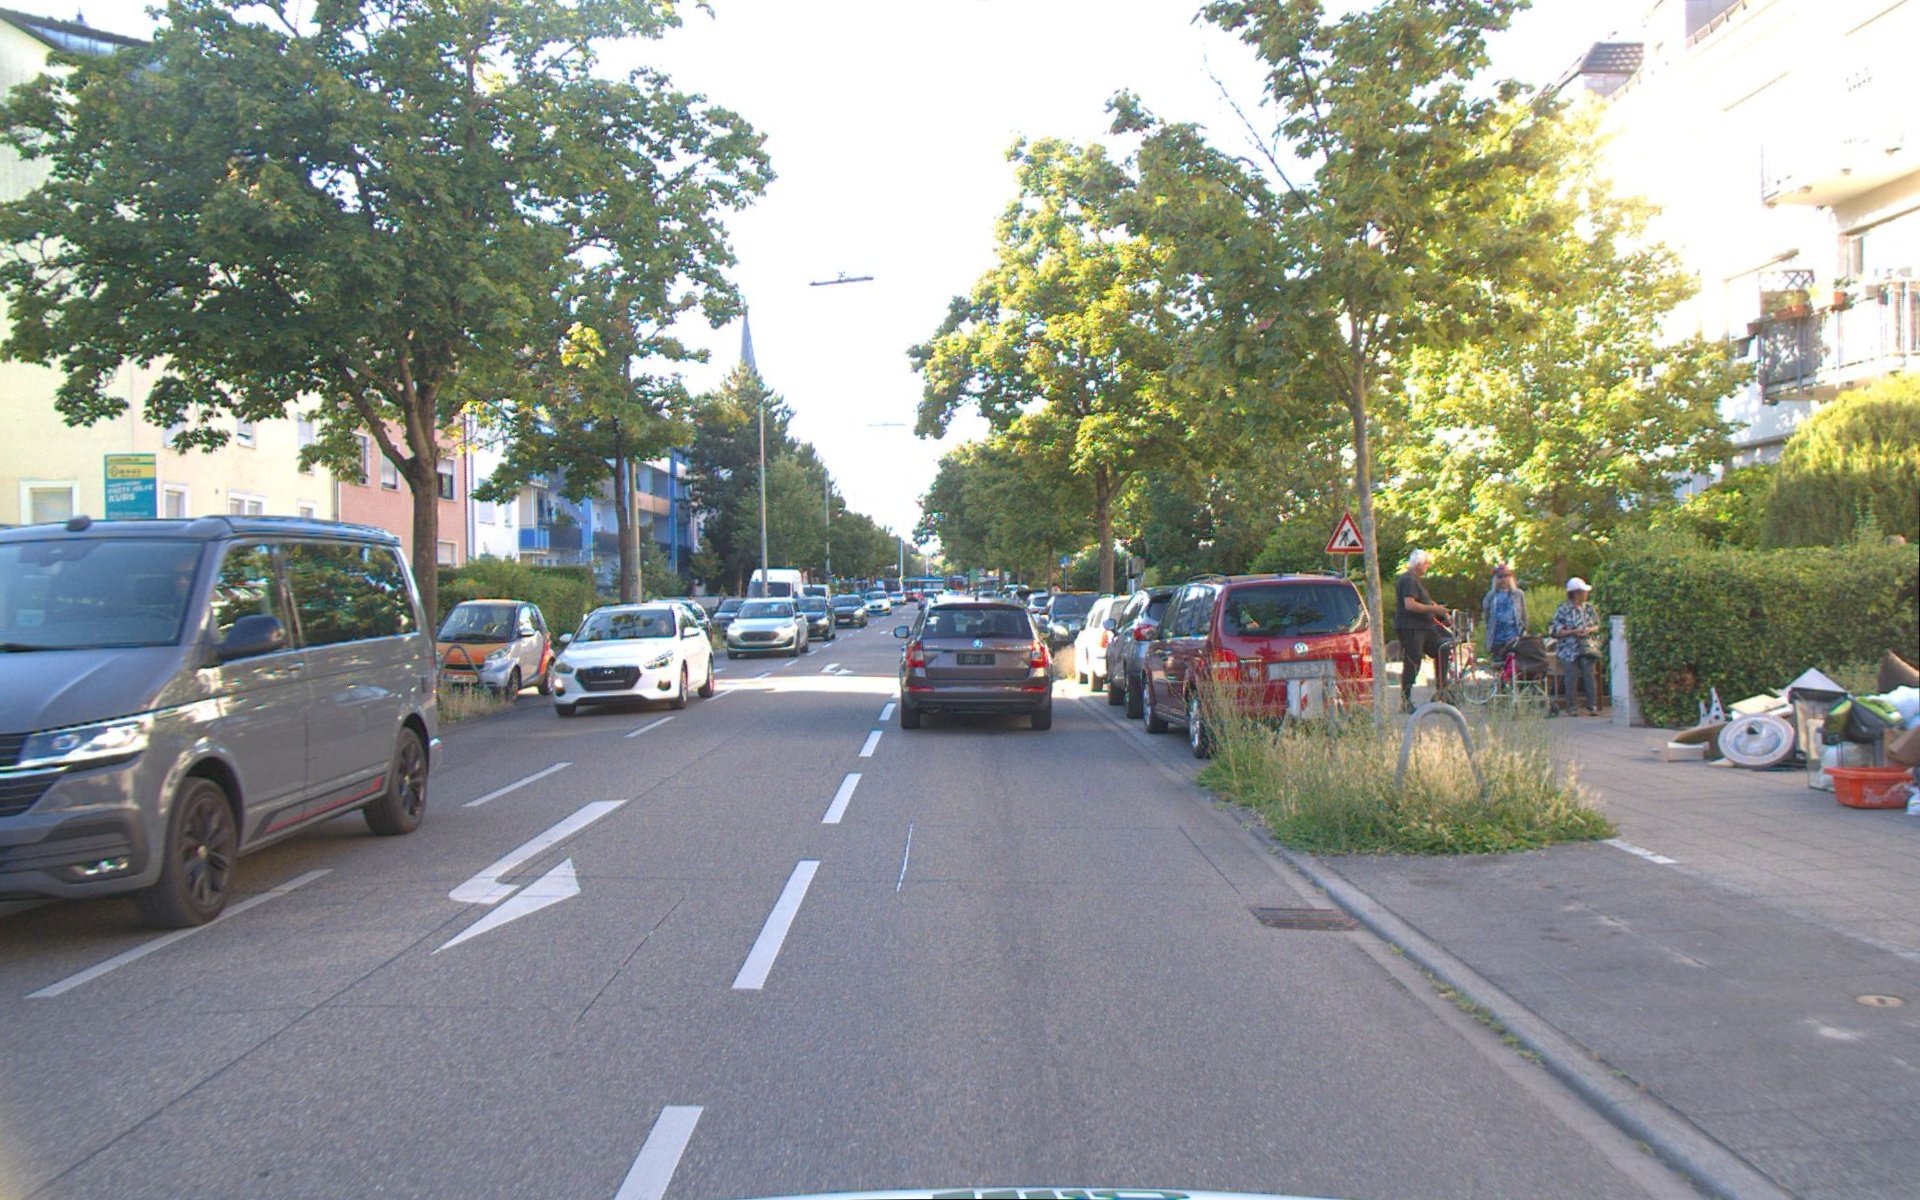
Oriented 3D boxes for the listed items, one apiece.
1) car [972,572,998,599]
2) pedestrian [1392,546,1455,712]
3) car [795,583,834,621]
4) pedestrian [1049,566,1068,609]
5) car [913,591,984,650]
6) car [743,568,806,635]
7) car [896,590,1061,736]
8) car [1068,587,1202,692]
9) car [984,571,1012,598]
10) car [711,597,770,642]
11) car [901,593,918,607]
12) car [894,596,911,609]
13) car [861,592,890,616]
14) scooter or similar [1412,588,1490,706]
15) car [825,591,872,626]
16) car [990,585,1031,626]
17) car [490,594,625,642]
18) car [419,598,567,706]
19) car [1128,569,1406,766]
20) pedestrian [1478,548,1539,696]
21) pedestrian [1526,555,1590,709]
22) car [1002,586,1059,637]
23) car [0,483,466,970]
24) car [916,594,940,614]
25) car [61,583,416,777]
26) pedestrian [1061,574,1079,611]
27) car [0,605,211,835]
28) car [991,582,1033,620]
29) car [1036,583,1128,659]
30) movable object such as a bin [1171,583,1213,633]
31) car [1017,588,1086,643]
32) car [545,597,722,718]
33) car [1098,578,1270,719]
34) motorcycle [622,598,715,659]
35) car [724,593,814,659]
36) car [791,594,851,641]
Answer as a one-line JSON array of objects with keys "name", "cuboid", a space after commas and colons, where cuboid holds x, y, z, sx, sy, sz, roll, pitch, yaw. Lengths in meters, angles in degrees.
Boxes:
[{"name": "car", "cuboid": [1.838, -1.047, 122.502, 1.877, 1.893, 5.633, -1, 0, 1]}, {"name": "pedestrian", "cuboid": [5.371, 0.331, 19.194, 0.537, 1.882, 0.765, -1, 0, 6]}, {"name": "car", "cuboid": [-8.114, 0.088, 92.805, 1.831, 2.067, 5.299, 0, 0, -1]}, {"name": "pedestrian", "cuboid": [4.053, -0.499, 67.826, 0.771, 1.730, 0.808, 0, 0, 4]}, {"name": "car", "cuboid": [-0.352, 0.585, 46.773, 1.854, 1.533, 3.788, 3, -1, -1]}, {"name": "car", "cuboid": [-7.745, 0.029, 69.657, 1.953, 2.662, 7.103, 0, 0, -1]}, {"name": "car", "cuboid": [0.231, 0.652, 19.380, 1.718, 1.518, 4.001, 1, 0, 1]}, {"name": "car", "cuboid": [2.780, 0.580, 27.088, 1.603, 1.516, 4.414, -2, 0, -1]}, {"name": "car", "cuboid": [2.424, -0.992, 106.129, 1.718, 1.716, 4.253, 1, 0, 1]}, {"name": "car", "cuboid": [-7.705, 0.653, 58.290, 1.579, 1.498, 3.812, 1, 0, -1]}, {"name": "car", "cuboid": [-6.668, 0.006, 216.640, 1.955, 1.780, 3.995, -1, 0, -6]}, {"name": "car", "cuboid": [-6.556, 0.273, 189.554, 1.744, 1.520, 3.971, -1, 0, 0]}, {"name": "car", "cuboid": [-5.563, 0.251, 109.040, 1.842, 1.570, 4.264, -1, 0, -4]}, {"name": "scooter or similar", "cuboid": [5.678, 0.534, 19.166, 0.730, 1.340, 0.721, -1, 0, 6]}, {"name": "car", "cuboid": [-5.024, 0.368, 75.026, 1.665, 1.496, 4.295, -2, 0, 2]}, {"name": "car", "cuboid": [2.250, 0.231, 74.044, 1.718, 1.691, 4.253, -2, 0, 1]}, {"name": "car", "cuboid": [-13.101, 0.581, 53.940, 3.905, 1.437, 1.916, 1, 0, -1]}, {"name": "car", "cuboid": [-7.514, 0.801, 26.844, 1.468, 1.645, 2.862, -1, 0, 2]}, {"name": "car", "cuboid": [2.900, 0.569, 16.626, 1.687, 1.684, 4.594, -1, 0, -3]}, {"name": "pedestrian", "cuboid": [6.476, 0.255, 19.541, 0.500, 1.726, 0.526, -1, 0, -5]}, {"name": "pedestrian", "cuboid": [6.809, 0.360, 18.849, 0.500, 1.726, 0.526, -1, 0, -5]}, {"name": "car", "cuboid": [2.381, 0.368, 56.834, 1.683, 1.629, 4.095, -1, 0, -1]}, {"name": "car", "cuboid": [-4.450, 0.549, 9.188, 1.953, 1.980, 4.777, -3, 0, -1]}, {"name": "car", "cuboid": [-2.563, 0.316, 131.993, 1.746, 1.506, 3.968, 1, 0, -4]}, {"name": "car", "cuboid": [-7.460, 0.733, 17.678, 1.747, 1.763, 4.617, -1, 0, 0]}, {"name": "pedestrian", "cuboid": [5.659, -0.378, 85.412, 0.781, 1.893, 0.951, -2, 0, 10]}, {"name": "car", "cuboid": [-7.453, 0.841, 12.649, 1.649, 1.547, 4.189, -1, 0, -2]}, {"name": "car", "cuboid": [2.573, 0.026, 83.233, 1.764, 1.840, 4.421, 1, 0, -3]}, {"name": "car", "cuboid": [2.816, 0.448, 39.050, 1.836, 1.608, 4.821, -2, 0, 1]}, {"name": "movable object such as a bin", "cuboid": [7.418, 0.252, 52.821, 1.240, 1.518, 1.140, -3, 0, 9]}, {"name": "car", "cuboid": [2.683, 0.432, 49.240, 1.683, 1.520, 4.393, -1, 0, -2]}, {"name": "car", "cuboid": [-4.596, 0.750, 23.821, 1.779, 1.471, 4.109, -3, 0, -2]}, {"name": "car", "cuboid": [2.801, 0.559, 21.435, 1.603, 1.595, 4.000, -2, 0, 0]}, {"name": "motorcycle", "cuboid": [-7.026, 0.694, 39.894, 2.002, 1.413, 0.980, 2, -1, -33]}, {"name": "car", "cuboid": [-4.876, 0.631, 42.740, 1.795, 1.496, 4.451, -4, 0, -1]}, {"name": "car", "cuboid": [-4.572, 0.549, 54.973, 1.665, 1.428, 4.027, -3, 0, -1]}]
